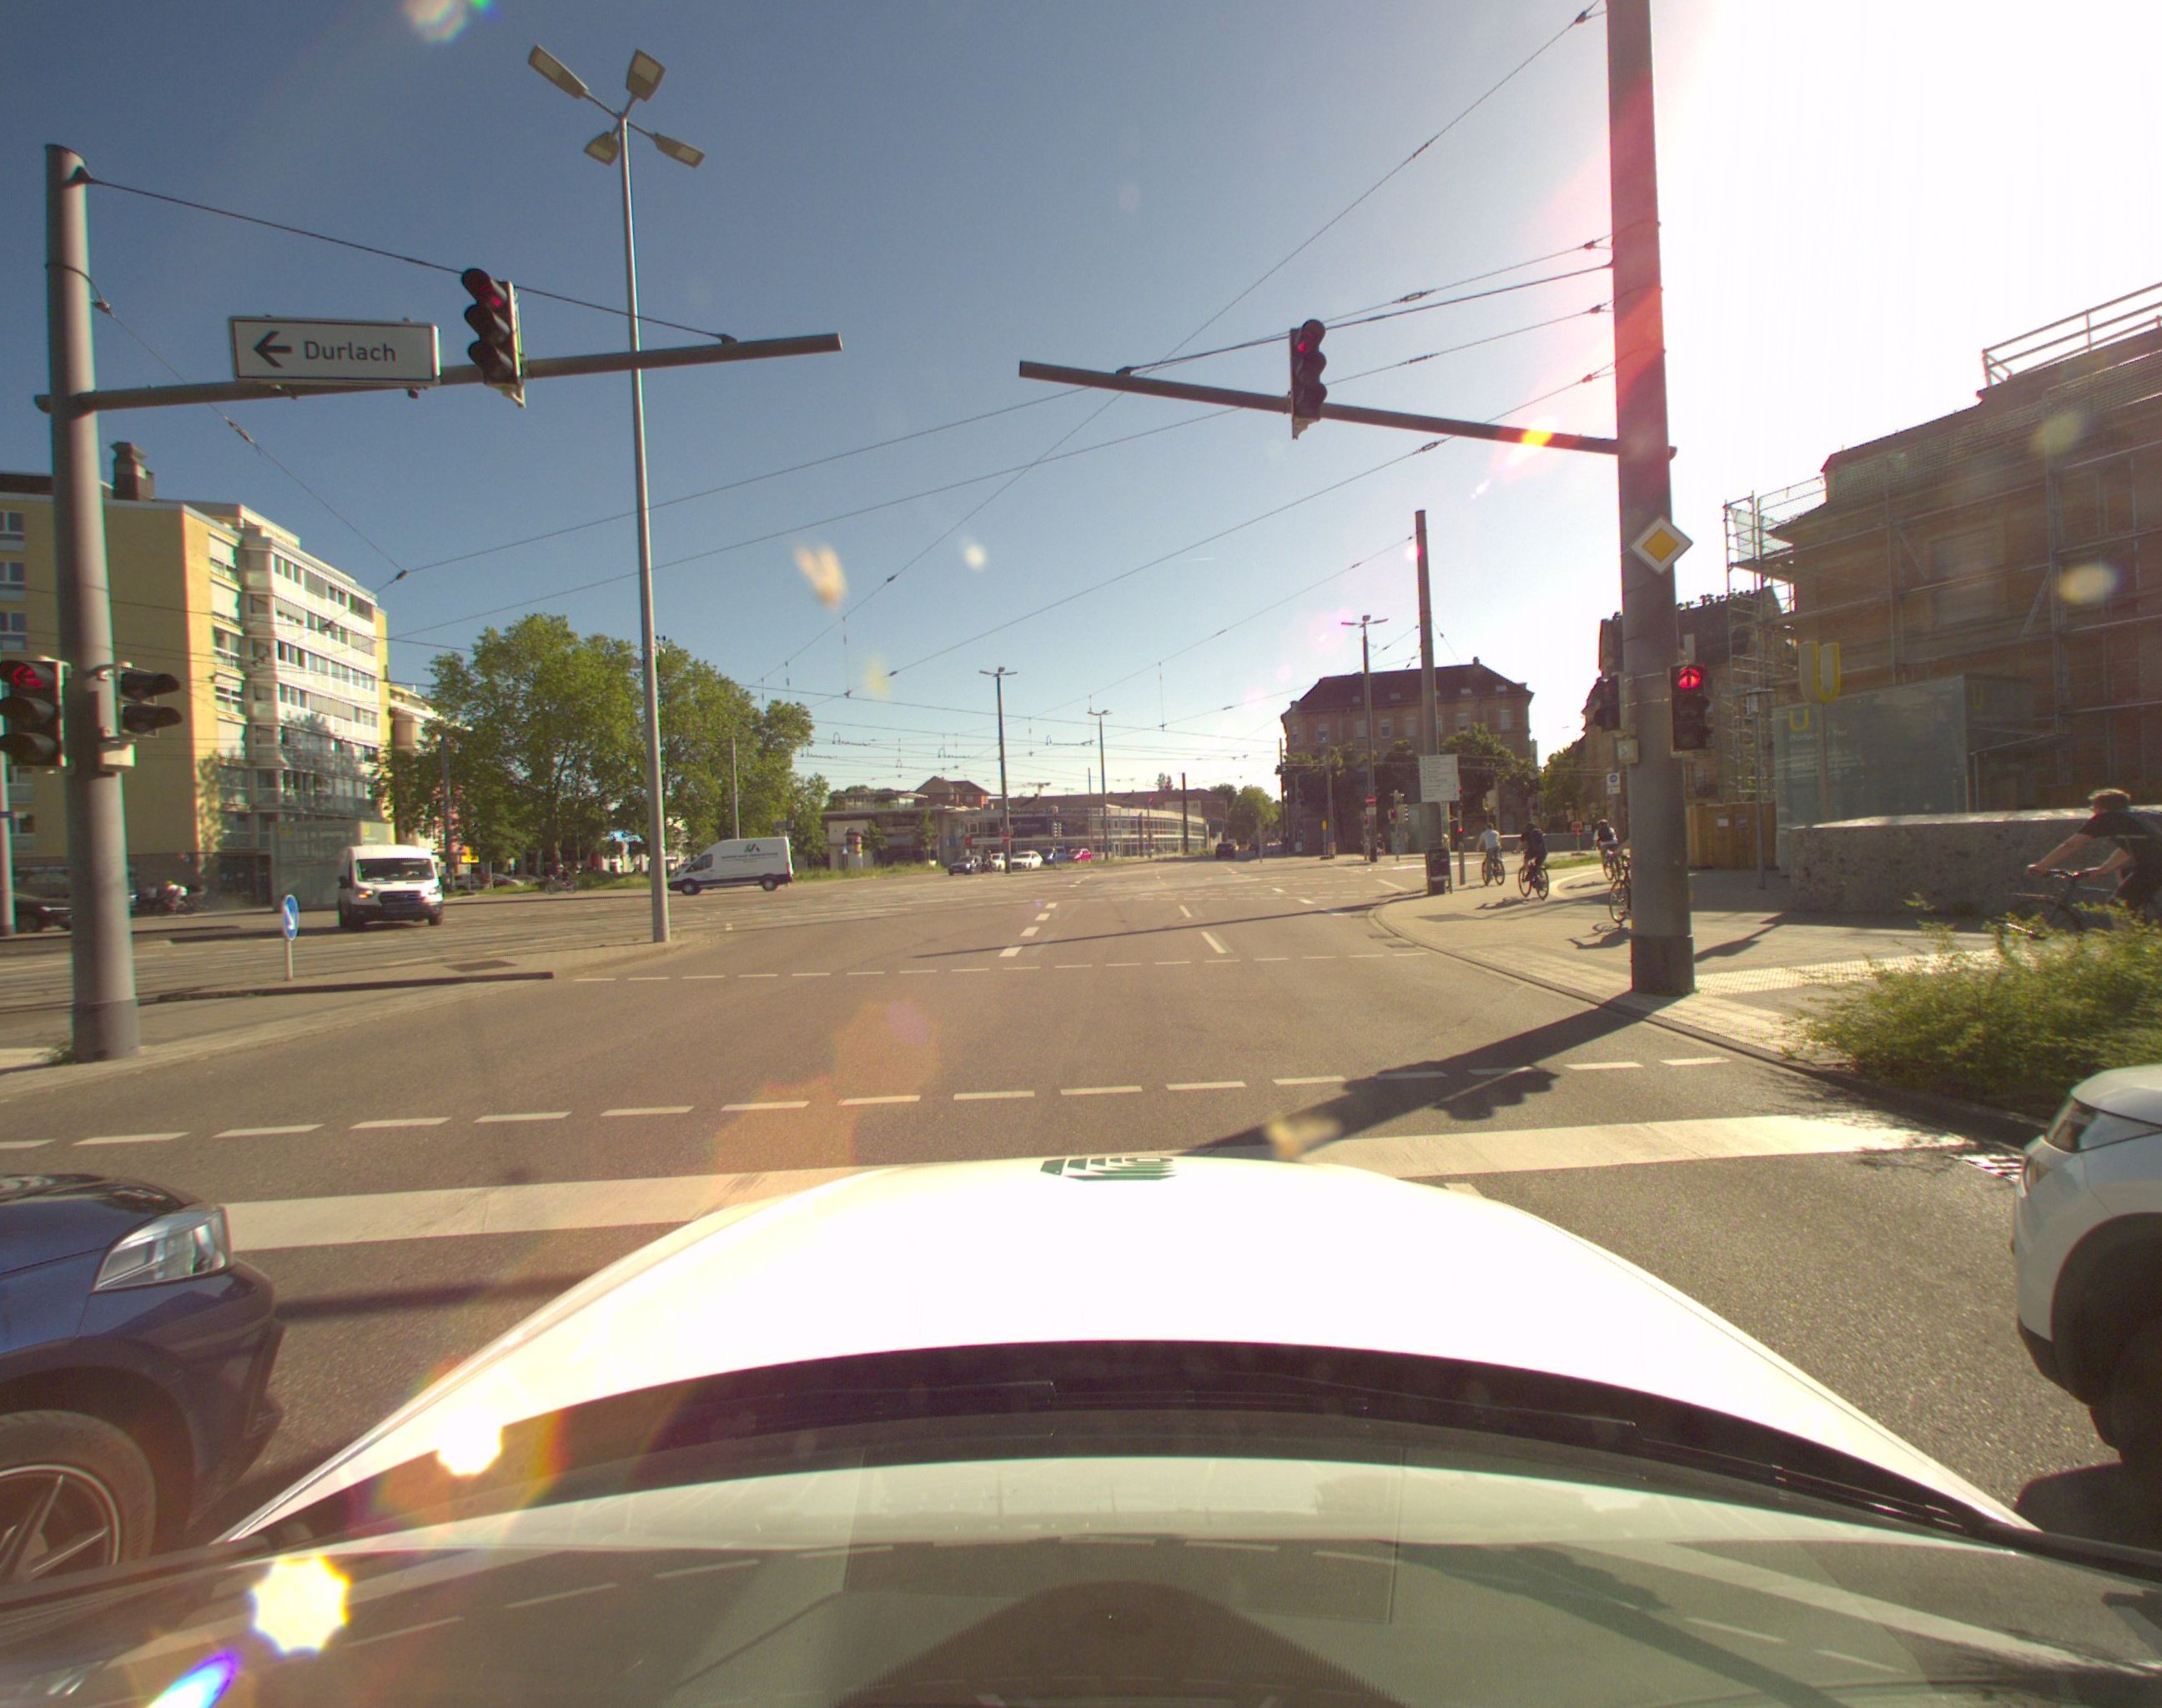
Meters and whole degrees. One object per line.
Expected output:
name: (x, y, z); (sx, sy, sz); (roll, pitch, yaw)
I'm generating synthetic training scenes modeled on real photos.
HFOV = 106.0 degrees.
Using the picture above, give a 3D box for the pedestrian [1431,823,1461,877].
pedestrian: (10.933, -0.113, 24.440); (0.545, 1.562, 0.860); (-2, 0, 7)

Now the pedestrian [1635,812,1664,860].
pedestrian: (22.717, -0.717, 32.546); (0.887, 1.859, 0.933); (-2, 0, 36)

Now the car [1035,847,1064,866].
car: (-3.000, 0.246, 79.213); (1.613, 1.692, 3.702); (-2, 0, 17)

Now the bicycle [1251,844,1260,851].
bicycle: (20.239, -0.759, 94.323); (0.737, 0.870, 1.941); (-2, 0, 20)

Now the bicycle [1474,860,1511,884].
bicycle: (12.356, 0.533, 24.471); (0.534, 0.655, 1.471); (-3, 0, 9)

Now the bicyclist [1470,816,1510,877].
bicyclist: (12.287, -0.229, 24.466); (0.742, 1.778, 0.926); (-3, 0, 9)

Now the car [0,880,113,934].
car: (-36.106, 1.819, 27.483); (4.064, 1.659, 1.862); (-2, 0, -14)

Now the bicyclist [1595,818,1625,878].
bicyclist: (14.253, -0.170, 21.953); (0.566, 1.568, 0.953); (-3, 0, 29)

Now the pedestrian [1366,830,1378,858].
pedestrian: (21.315, -0.704, 59.691); (0.574, 2.013, 0.449); (-3, 0, -16)

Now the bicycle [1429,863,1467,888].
bicycle: (10.999, 0.619, 24.459); (0.534, 0.655, 1.729); (-5, 0, 7)

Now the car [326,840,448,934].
car: (-20.966, 0.946, 24.519); (5.350, 2.508, 2.013); (-2, 0, 42)

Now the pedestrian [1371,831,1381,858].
pedestrian: (21.831, -0.703, 60.335); (0.461, 2.013, 0.449); (-3, 0, -16)

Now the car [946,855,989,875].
car: (-8.505, 0.801, 61.240); (1.689, 1.354, 3.719); (-2, 0, 19)

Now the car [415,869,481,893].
car: (-49.784, 2.131, 64.126); (3.742, 1.662, 1.585); (-2, 0, -18)

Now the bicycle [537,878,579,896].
bicycle: (-31.084, 1.960, 48.416); (2.011, 0.913, 0.559); (-2, 0, -19)

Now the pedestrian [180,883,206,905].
pedestrian: (-46.516, 2.099, 42.668); (0.749, 1.127, 0.421); (-2, 0, -18)

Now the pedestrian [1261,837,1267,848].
pedestrian: (25.166, -1.535, 111.802); (0.740, 1.523, 0.721); (-2, 0, 17)

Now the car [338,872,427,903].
car: (-42.823, 2.036, 49.998); (3.742, 1.662, 1.585); (-2, 0, -18)

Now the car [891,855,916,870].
car: (-21.878, 1.081, 100.591); (1.958, 1.706, 4.085); (-2, 0, 2)

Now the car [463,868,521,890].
car: (-51.359, 2.160, 71.050); (3.742, 1.662, 1.585); (-2, 0, -18)

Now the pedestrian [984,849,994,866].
pedestrian: (-6.851, 0.272, 60.842); (0.419, 1.204, 0.753); (-2, 0, 19)

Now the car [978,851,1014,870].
car: (-6.986, 0.555, 67.164); (1.613, 1.424, 3.702); (-2, 0, 17)

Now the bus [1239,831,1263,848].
bus: (39.798, -3.185, 190.005); (3.808, 3.607, 24.967); (-1, 0, 15)

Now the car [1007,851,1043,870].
car: (-4.480, 0.521, 65.221); (1.613, 1.382, 3.754); (-2, 0, 17)

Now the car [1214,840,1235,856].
car: (14.850, -0.632, 83.913); (1.686, 1.503, 4.282); (-2, 0, 15)

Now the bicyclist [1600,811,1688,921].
bicyclist: (8.730, 0.176, 12.669); (0.680, 1.598, 0.980); (-5, -1, 12)

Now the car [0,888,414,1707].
car: (-2.676, 0.820, 0.124); (1.704, 1.445, 4.034); (-1, 0, 2)

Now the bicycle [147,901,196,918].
bicycle: (-45.972, 2.791, 41.181); (1.635, 0.758, 0.421); (-2, 0, -20)

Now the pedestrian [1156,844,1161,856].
pedestrian: (11.646, -0.597, 122.756); (0.538, 1.688, 0.633); (-2, 0, 21)

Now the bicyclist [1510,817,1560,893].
bicyclist: (10.357, 0.020, 18.601); (0.621, 1.637, 0.998); (-4, 0, 11)

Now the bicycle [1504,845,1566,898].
bicycle: (10.413, 0.384, 18.744); (0.621, 1.114, 1.857); (-4, 0, 11)

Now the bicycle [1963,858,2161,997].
bicycle: (8.701, 0.577, 6.905); (0.514, 1.044, 1.769); (-4, 0, 3)

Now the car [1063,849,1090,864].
car: (-0.448, 0.255, 86.284); (1.613, 1.364, 3.703); (-2, 0, 18)

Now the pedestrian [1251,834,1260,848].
pedestrian: (20.319, -1.505, 94.733); (0.796, 1.632, 0.722); (-2, 0, 20)

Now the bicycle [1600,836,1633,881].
bicycle: (14.364, 0.105, 21.875); (0.566, 1.125, 1.751); (-3, 0, 29)

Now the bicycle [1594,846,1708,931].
bicycle: (8.720, 0.484, 12.561); (0.680, 1.163, 1.890); (-5, 0, 12)

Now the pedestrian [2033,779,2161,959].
pedestrian: (8.689, 0.101, 6.698); (0.514, 1.402, 0.962); (-4, 0, 2)

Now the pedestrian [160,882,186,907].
pedestrian: (-45.942, 2.057, 41.201); (0.750, 1.204, 0.421); (-2, 0, -20)

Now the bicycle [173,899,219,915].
bicycle: (-46.391, 2.794, 42.702); (1.634, 0.718, 0.421); (-2, 0, -18)

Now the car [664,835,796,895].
car: (-17.808, 0.534, 41.716); (5.920, 2.744, 2.131); (-2, 0, -18)

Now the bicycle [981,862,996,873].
bicycle: (-6.878, 0.997, 60.671); (0.419, 0.718, 1.642); (-2, 0, 19)

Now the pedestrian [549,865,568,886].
pedestrian: (-31.077, 1.299, 48.424); (0.796, 1.204, 0.557); (-2, 0, -19)
